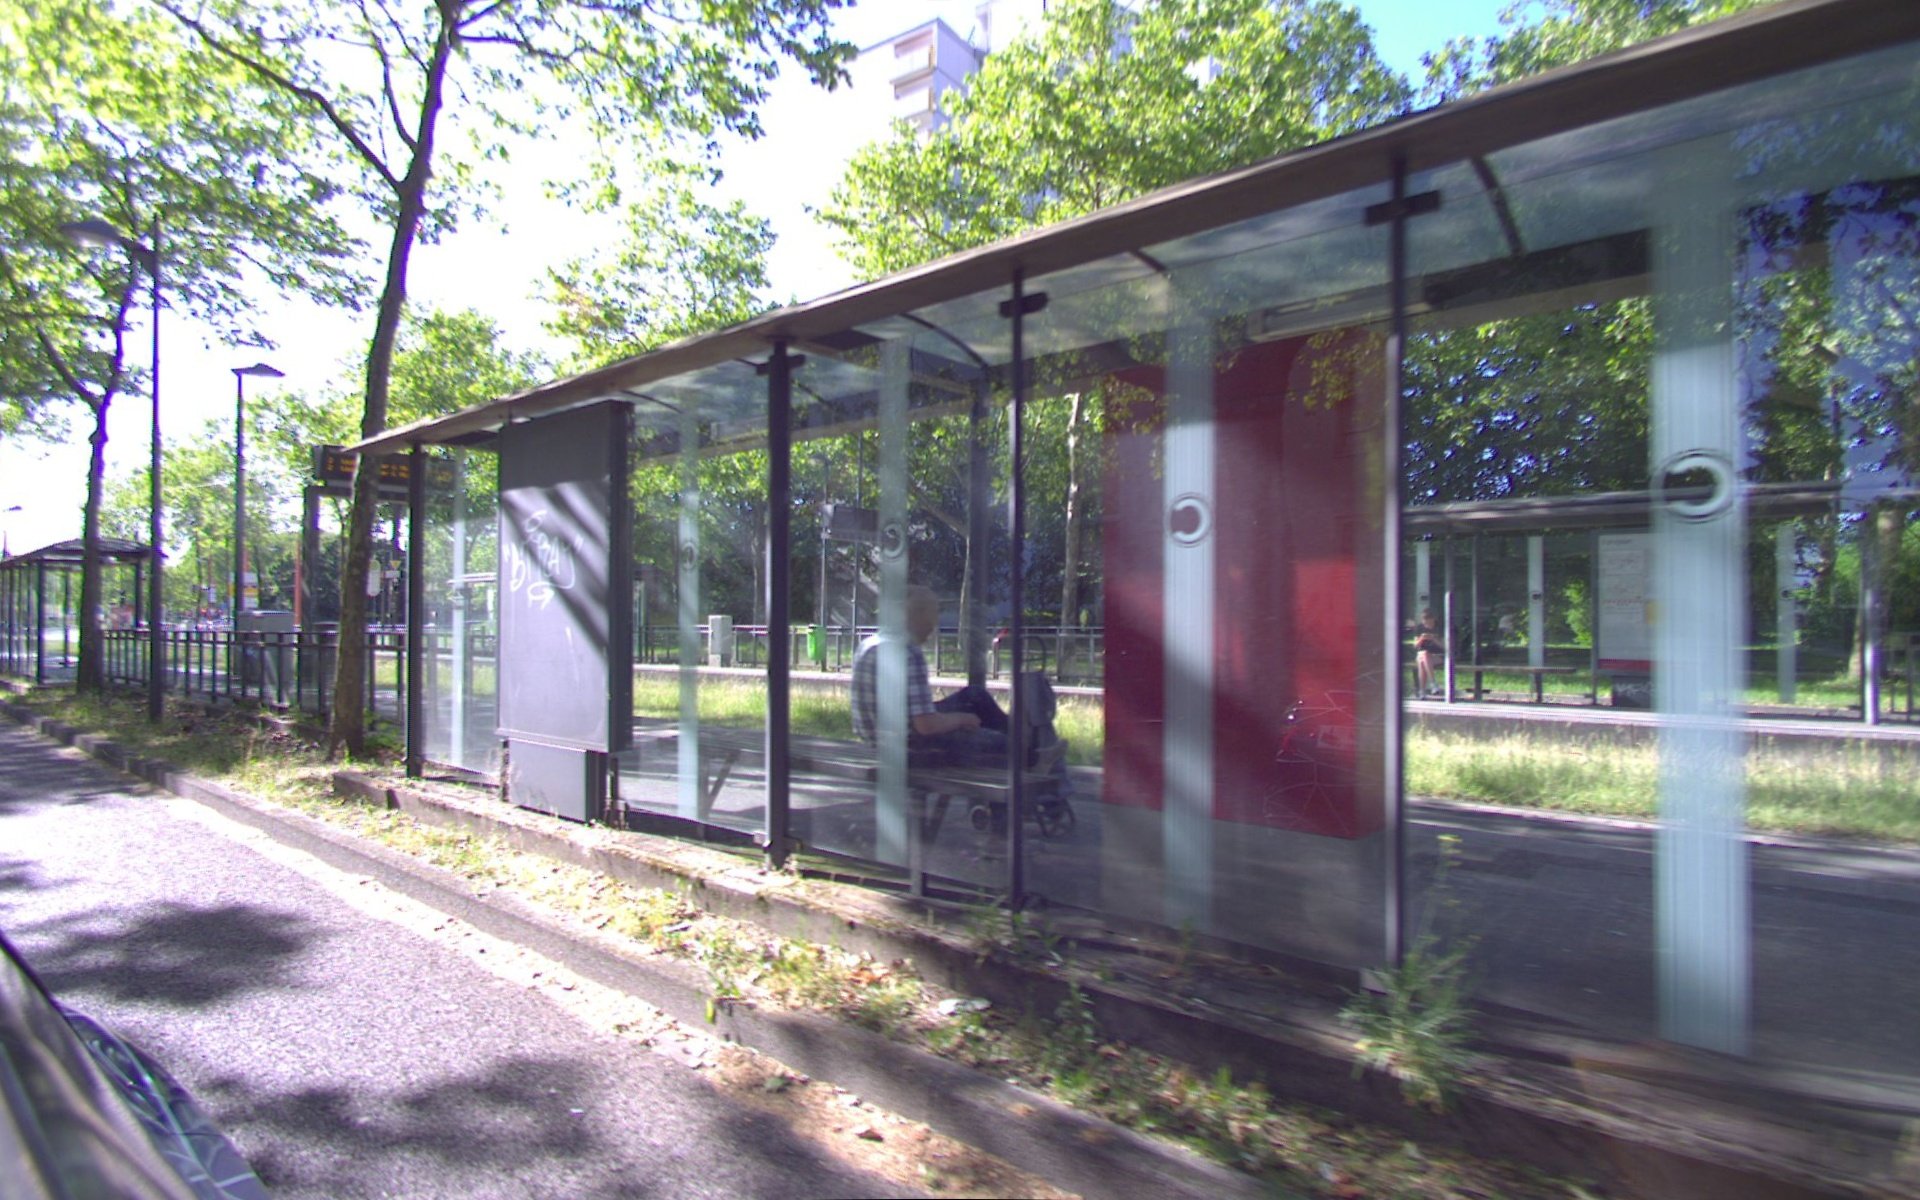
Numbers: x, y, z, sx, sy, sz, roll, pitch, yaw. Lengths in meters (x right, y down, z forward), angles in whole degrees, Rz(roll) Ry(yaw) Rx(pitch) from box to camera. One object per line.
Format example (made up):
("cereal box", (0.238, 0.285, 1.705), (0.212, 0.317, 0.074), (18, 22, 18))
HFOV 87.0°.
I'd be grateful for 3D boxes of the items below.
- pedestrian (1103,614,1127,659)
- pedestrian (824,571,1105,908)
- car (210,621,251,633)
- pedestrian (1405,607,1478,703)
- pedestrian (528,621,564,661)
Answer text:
("pedestrian", (5.853, 1.374, 38.273), (0.650, 1.674, 0.641), (-2, -2, 42))
("pedestrian", (0.022, 0.524, 4.368), (0.850, 1.252, 0.846), (-2, -1, 42))
("car", (-93.048, 3.452, 129.159), (3.930, 1.522, 1.806), (0, -2, -23))
("pedestrian", (6.539, 0.725, 13.736), (0.721, 1.247, 0.770), (-2, -2, 39))
("pedestrian", (-12.493, 1.232, 30.549), (0.762, 1.192, 0.758), (-2, -2, 41))
